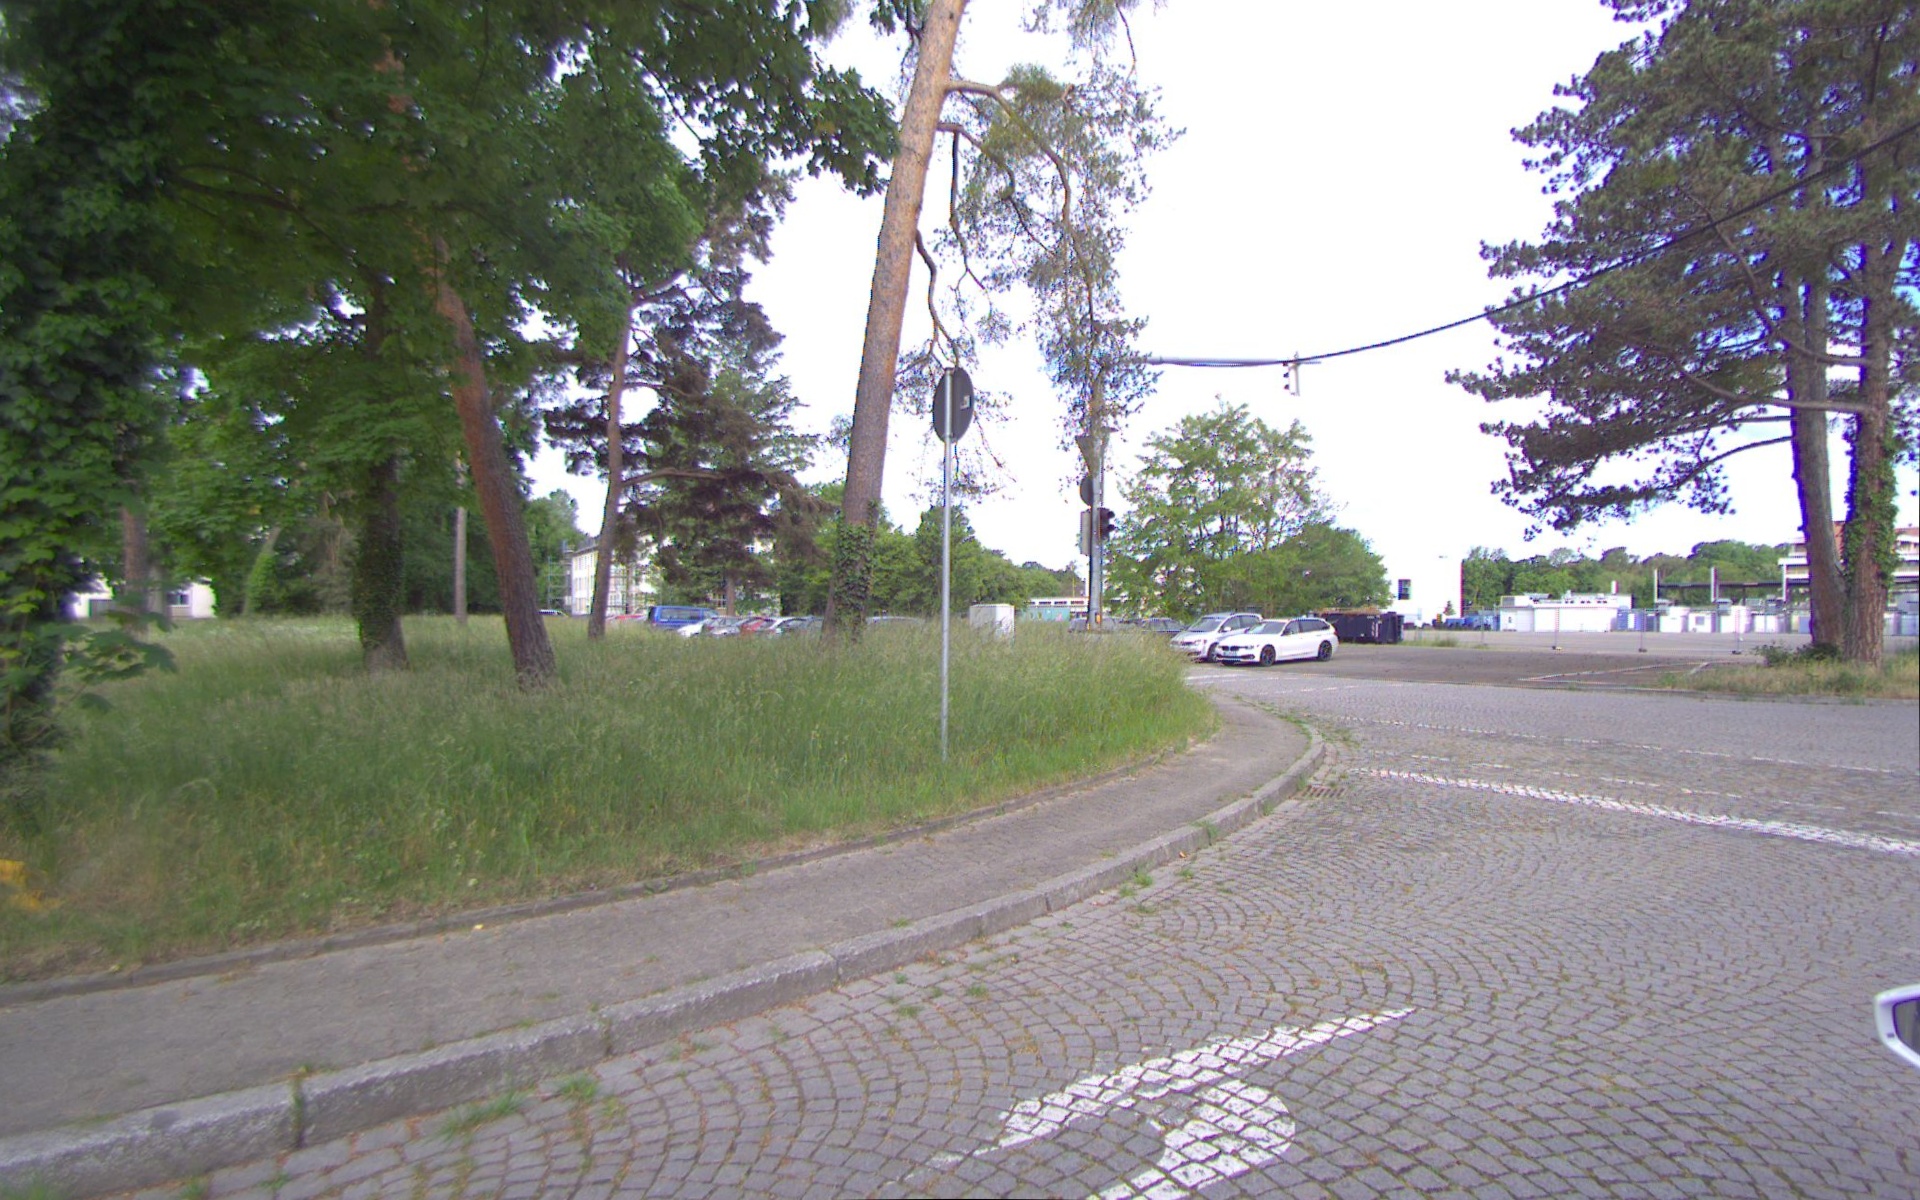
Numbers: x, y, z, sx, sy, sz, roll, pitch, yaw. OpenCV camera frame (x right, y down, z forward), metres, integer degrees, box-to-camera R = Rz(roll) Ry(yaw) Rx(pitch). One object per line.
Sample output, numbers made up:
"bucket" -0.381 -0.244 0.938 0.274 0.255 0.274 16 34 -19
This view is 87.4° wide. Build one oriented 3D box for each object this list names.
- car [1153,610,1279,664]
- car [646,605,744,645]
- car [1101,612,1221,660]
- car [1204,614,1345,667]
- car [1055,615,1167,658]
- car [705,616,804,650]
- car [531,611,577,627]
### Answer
"car" 8.837 1.215 34.581 4.280 1.605 1.810 -2 1 -34
"car" -14.112 1.301 53.498 4.737 2.007 1.982 0 0 -30
"car" 7.408 1.266 36.945 4.280 1.522 1.843 -2 1 -34
"car" 10.217 1.257 32.513 4.689 1.461 1.799 -2 1 -33
"car" 5.907 1.373 39.150 4.281 1.587 1.782 1 -1 -34
"car" -8.965 1.425 43.847 3.952 1.457 1.678 1 -1 -30
"car" -50.938 2.382 125.926 5.104 2.040 1.983 1 -1 -31
